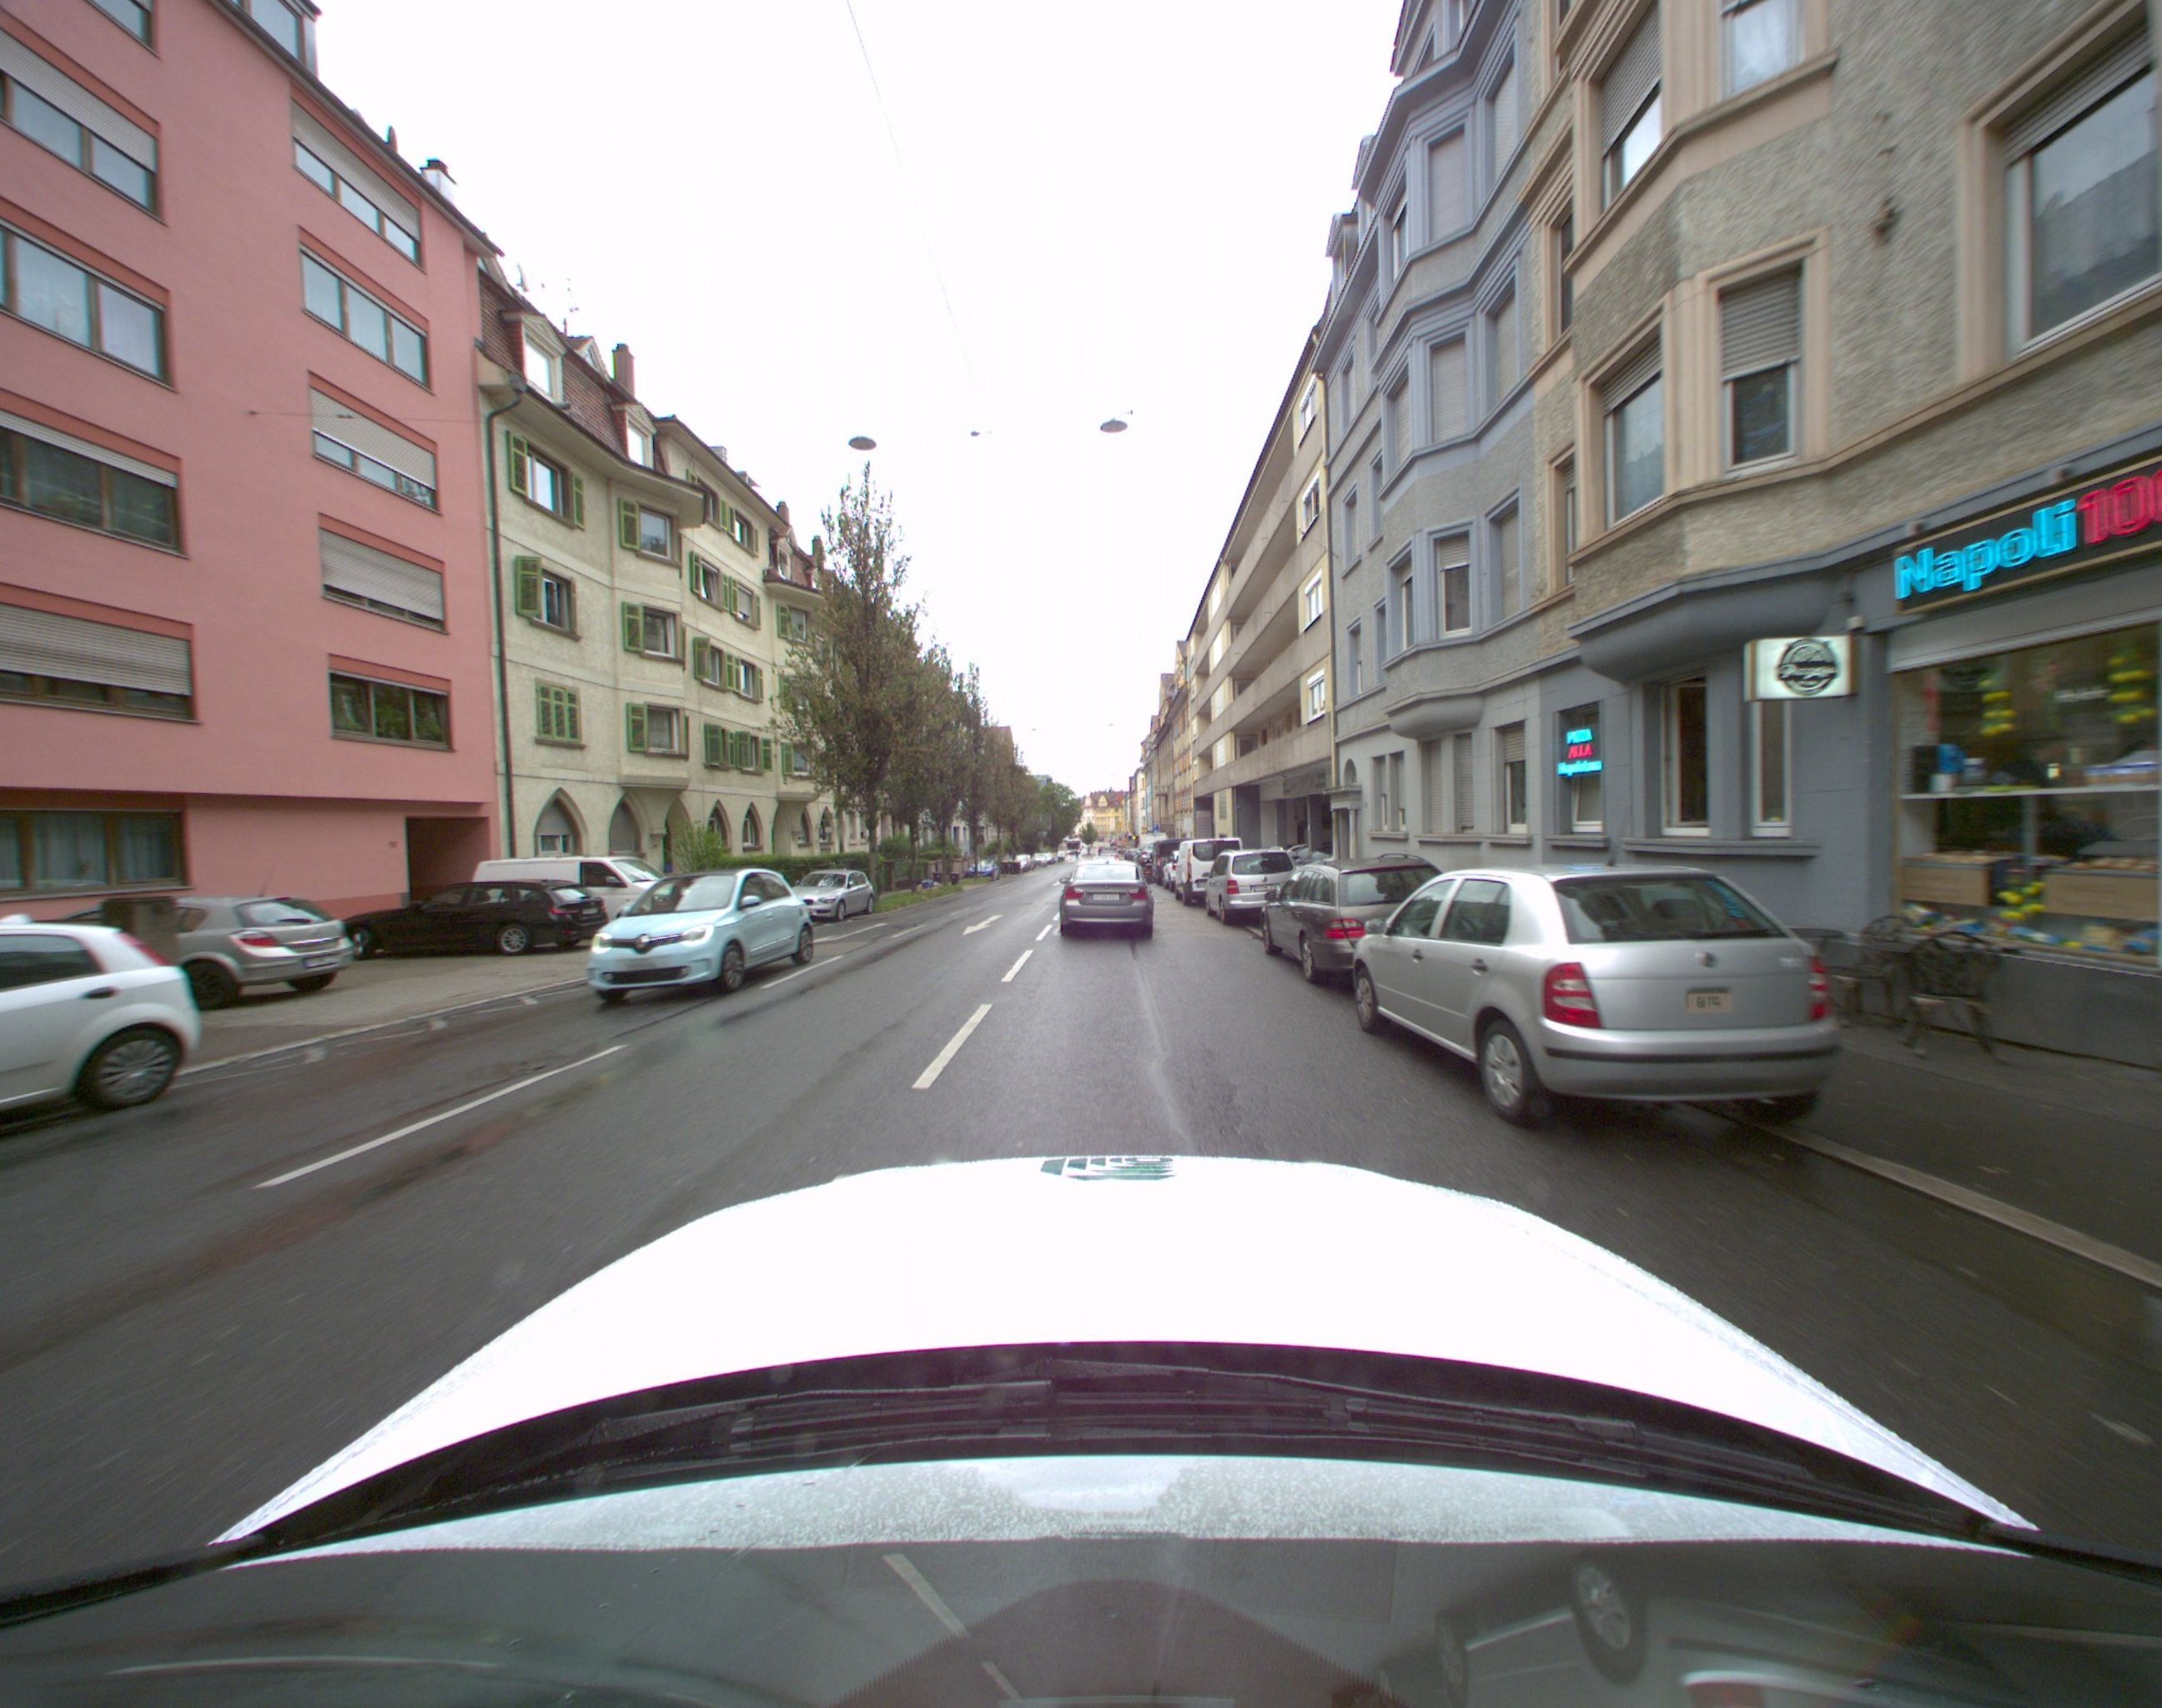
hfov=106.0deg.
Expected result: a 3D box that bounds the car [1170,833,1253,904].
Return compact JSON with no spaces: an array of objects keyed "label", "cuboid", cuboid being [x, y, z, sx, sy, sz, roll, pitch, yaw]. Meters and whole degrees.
[{"label":"car","cuboid":[4.075,0.421,26.114,1.974,2.007,4.627,-3,0,2]}]

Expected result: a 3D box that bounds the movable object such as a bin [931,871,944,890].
[{"label":"movable object such as a bin","cuboid":[-7.170,1.324,40.665,0.575,0.912,0.637,-3,0,-12]}]

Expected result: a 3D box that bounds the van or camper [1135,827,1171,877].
[{"label":"van or camper","cuboid":[4.585,-0.140,51.381,2.023,2.868,6.896,1,0,5]}]

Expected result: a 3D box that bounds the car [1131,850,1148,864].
[{"label":"car","cuboid":[6.370,0.333,89.355,1.691,1.483,3.976,0,0,1]}]

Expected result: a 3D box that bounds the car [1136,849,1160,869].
[{"label":"car","cuboid":[5.355,0.404,65.333,1.691,1.483,3.976,0,0,1]}]

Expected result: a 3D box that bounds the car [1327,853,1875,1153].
[{"label":"car","cuboid":[3.176,0.735,6.043,1.605,1.474,4.017,-1,0,2]}]

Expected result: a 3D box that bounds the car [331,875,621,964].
[{"label":"car","cuboid":[-12.039,1.275,16.434,4.418,1.451,1.791,-2,0,-1]}]

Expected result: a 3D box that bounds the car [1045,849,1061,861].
[{"label":"car","cuboid":[-3.697,0.105,107.275,1.684,1.523,3.739,-4,0,3]}]

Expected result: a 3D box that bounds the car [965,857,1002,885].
[{"label":"car","cuboid":[-6.314,1.070,53.114,1.760,1.593,4.000,-4,0,1]}]

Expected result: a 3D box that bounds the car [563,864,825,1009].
[{"label":"car","cuboid":[-5.077,0.976,11.300,1.630,1.508,3.756,-4,0,2]}]

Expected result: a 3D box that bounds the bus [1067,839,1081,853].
[{"label":"bus","cuboid":[-1.578,-1.819,182.205,2.658,3.024,7.674,-3,0,2]}]

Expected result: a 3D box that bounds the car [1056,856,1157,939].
[{"label":"car","cuboid":[0.546,0.768,16.180,1.762,1.428,3.744,0,0,3]}]

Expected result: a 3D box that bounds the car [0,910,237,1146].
[{"label":"car","cuboid":[-7.949,1.221,4.797,1.614,1.445,4.008,-2,0,3]}]

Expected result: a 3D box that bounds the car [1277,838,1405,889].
[{"label":"car","cuboid":[9.298,0.321,29.431,4.255,1.640,1.673,-2,2,14]}]

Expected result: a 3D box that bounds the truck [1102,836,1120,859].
[{"label":"truck","cuboid":[3.342,-0.688,91.215,2.024,2.412,4.828,0,0,1]}]

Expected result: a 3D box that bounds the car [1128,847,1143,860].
[{"label":"car","cuboid":[6.602,-0.046,99.197,1.691,1.483,3.976,0,0,1]}]

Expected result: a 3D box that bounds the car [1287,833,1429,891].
[{"label":"car","cuboid":[9.135,0.264,27.224,4.294,1.726,1.917,-2,2,14]}]

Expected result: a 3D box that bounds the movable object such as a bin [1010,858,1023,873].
[{"label":"movable object such as a bin","cuboid":[-5.302,0.945,66.974,0.931,1.168,0.910,-1,0,2]}]

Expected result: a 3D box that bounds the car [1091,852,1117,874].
[{"label":"car","cuboid":[1.587,0.606,56.298,1.691,1.483,3.794,0,0,1]}]

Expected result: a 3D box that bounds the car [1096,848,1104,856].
[{"label":"car","cuboid":[4.014,-0.414,170.899,1.691,1.483,3.794,-3,0,1]}]

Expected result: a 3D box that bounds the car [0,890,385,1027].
[{"label":"car","cuboid":[-12.302,1.356,11.103,3.876,1.457,1.788,-3,0,-6]}]

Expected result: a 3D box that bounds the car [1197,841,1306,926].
[{"label":"car","cuboid":[3.901,0.616,19.302,1.719,1.670,4.290,-4,0,2]}]

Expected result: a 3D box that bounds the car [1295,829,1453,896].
[{"label":"car","cuboid":[8.798,0.249,24.677,4.290,1.804,2.017,-2,2,19]}]

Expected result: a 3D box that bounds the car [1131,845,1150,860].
[{"label":"car","cuboid":[5.868,-0.155,81.157,1.691,1.483,3.976,0,0,1]}]

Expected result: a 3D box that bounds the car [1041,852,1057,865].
[{"label":"car","cuboid":[-4.028,0.547,102.754,1.684,1.523,3.739,-4,0,3]}]

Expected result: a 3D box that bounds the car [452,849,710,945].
[{"label":"car","cuboid":[-11.740,0.966,19.374,4.811,1.974,2.049,-2,0,1]}]

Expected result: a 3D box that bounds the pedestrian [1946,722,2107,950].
[{"label":"pedestrian","cuboid":[7.183,-0.132,6.203,0.486,1.620,0.661,-3,0,-28]}]

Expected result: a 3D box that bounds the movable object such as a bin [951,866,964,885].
[{"label":"movable object such as a bin","cuboid":[-6.185,1.091,40.799,0.575,0.912,0.637,-3,0,-12]}]

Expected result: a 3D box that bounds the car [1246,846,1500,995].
[{"label":"car","cuboid":[3.654,0.716,11.240,1.892,1.478,4.802,-4,0,3]}]

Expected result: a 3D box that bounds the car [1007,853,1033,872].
[{"label":"car","cuboid":[-5.589,0.745,74.544,1.820,1.523,3.739,-4,0,3]}]

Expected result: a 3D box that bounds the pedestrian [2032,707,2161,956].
[{"label":"pedestrian","cuboid":[7.131,-0.146,5.598,0.417,1.620,0.621,-3,0,-22]}]

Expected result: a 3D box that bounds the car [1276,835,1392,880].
[{"label":"car","cuboid":[10.025,0.132,32.503,4.255,1.640,1.673,-2,2,14]}]

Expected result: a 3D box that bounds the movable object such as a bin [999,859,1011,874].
[{"label":"movable object such as a bin","cuboid":[-6.255,1.018,66.985,0.898,1.168,0.895,-1,0,2]}]

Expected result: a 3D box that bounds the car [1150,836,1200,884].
[{"label":"car","cuboid":[4.629,0.264,40.762,1.974,2.166,4.752,-3,0,2]}]

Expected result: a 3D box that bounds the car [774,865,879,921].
[{"label":"car","cuboid":[-7.548,1.105,24.546,1.719,1.484,3.991,0,0,3]}]

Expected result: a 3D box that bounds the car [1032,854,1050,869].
[{"label":"car","cuboid":[-4.645,0.841,94.866,1.684,1.523,3.739,-4,0,3]}]

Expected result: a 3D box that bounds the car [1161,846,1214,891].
[{"label":"car","cuboid":[4.374,0.572,34.086,1.719,1.670,4.290,-3,0,2]}]

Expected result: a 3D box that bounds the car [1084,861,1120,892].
[{"label":"car","cuboid":[1.064,1.098,40.253,1.675,1.428,3.744,0,0,3]}]
